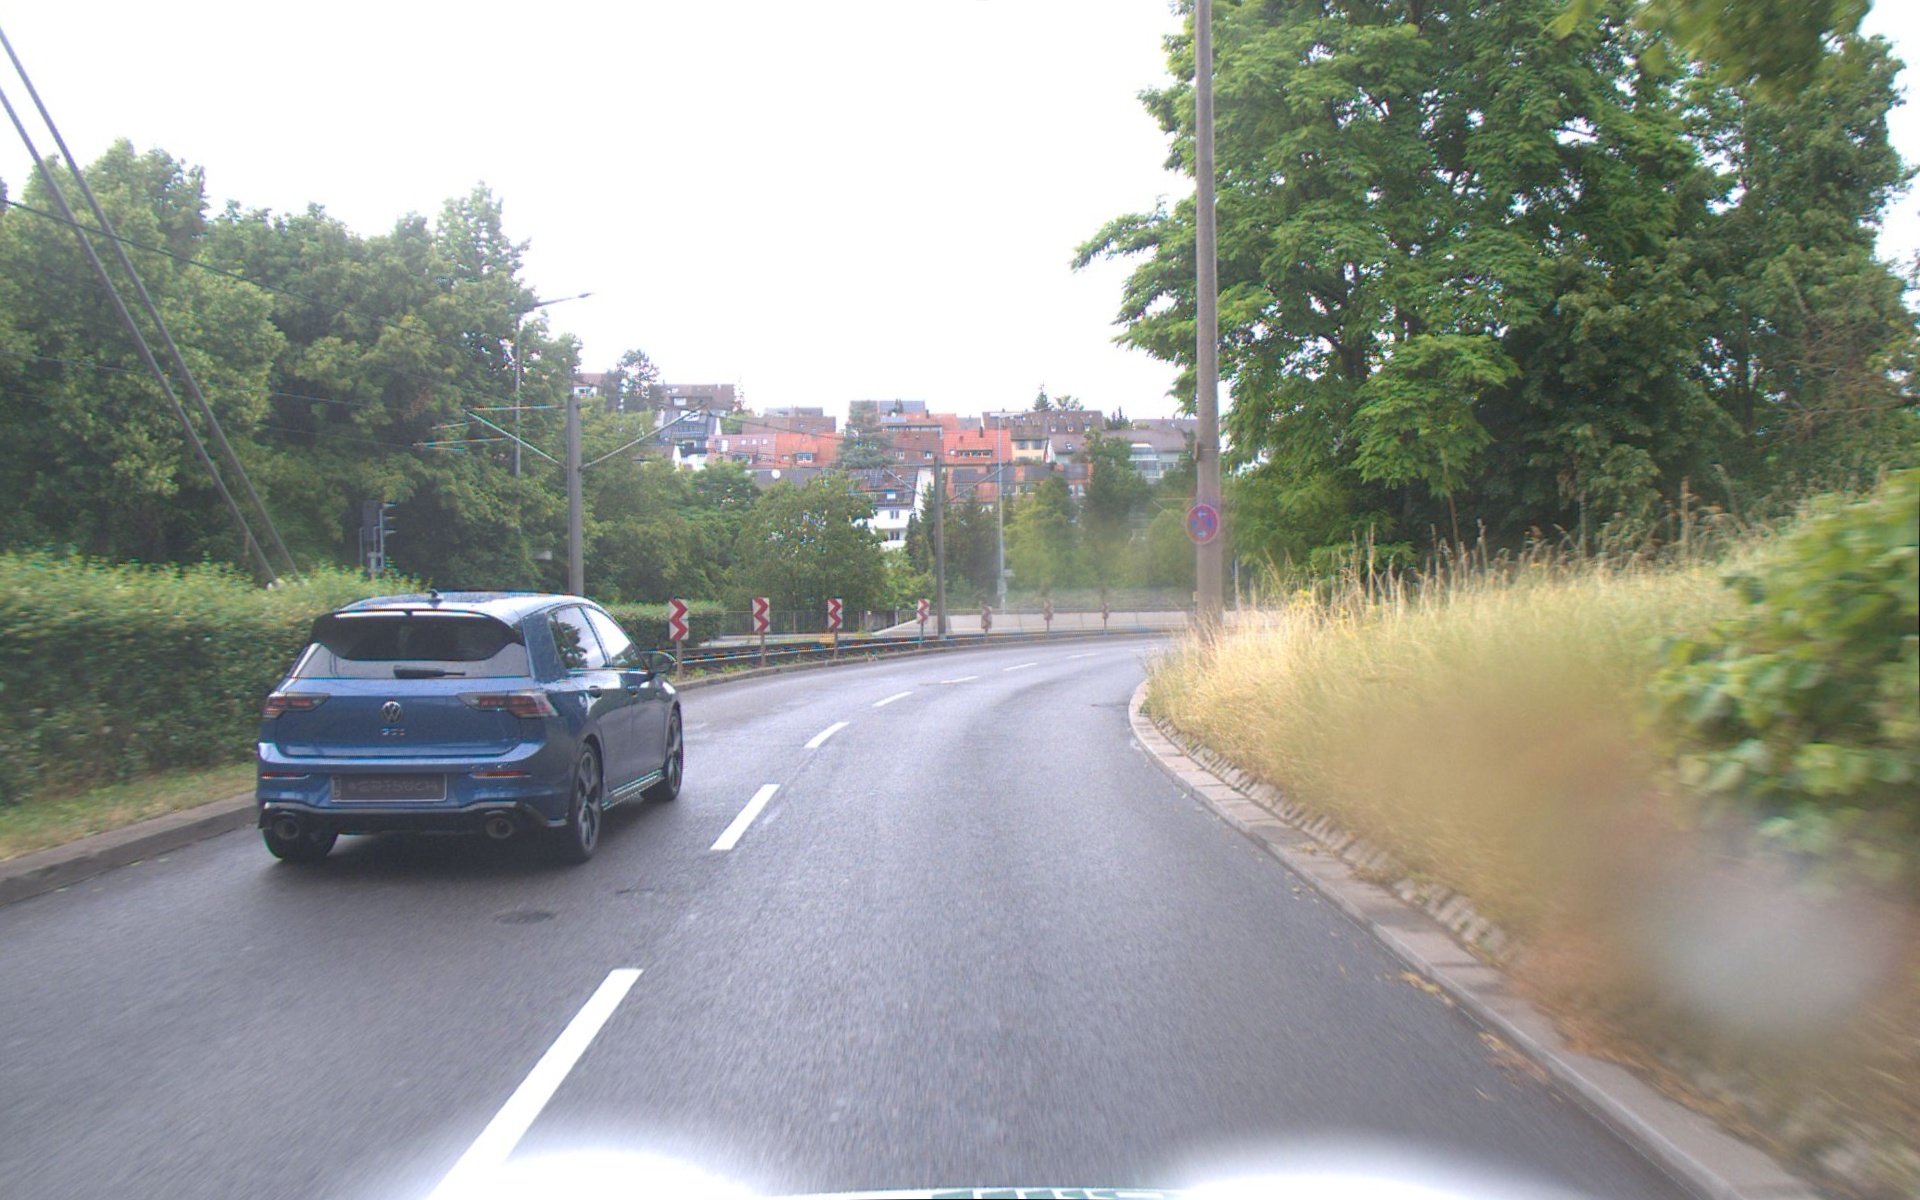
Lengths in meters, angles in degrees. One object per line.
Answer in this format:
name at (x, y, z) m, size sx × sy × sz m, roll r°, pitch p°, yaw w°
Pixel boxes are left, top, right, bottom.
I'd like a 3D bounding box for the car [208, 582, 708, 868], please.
car at (-2.805, 0.624, 10.335) m, size 1.771 × 1.402 × 4.347 m, roll 0°, pitch 0°, yaw 0°
